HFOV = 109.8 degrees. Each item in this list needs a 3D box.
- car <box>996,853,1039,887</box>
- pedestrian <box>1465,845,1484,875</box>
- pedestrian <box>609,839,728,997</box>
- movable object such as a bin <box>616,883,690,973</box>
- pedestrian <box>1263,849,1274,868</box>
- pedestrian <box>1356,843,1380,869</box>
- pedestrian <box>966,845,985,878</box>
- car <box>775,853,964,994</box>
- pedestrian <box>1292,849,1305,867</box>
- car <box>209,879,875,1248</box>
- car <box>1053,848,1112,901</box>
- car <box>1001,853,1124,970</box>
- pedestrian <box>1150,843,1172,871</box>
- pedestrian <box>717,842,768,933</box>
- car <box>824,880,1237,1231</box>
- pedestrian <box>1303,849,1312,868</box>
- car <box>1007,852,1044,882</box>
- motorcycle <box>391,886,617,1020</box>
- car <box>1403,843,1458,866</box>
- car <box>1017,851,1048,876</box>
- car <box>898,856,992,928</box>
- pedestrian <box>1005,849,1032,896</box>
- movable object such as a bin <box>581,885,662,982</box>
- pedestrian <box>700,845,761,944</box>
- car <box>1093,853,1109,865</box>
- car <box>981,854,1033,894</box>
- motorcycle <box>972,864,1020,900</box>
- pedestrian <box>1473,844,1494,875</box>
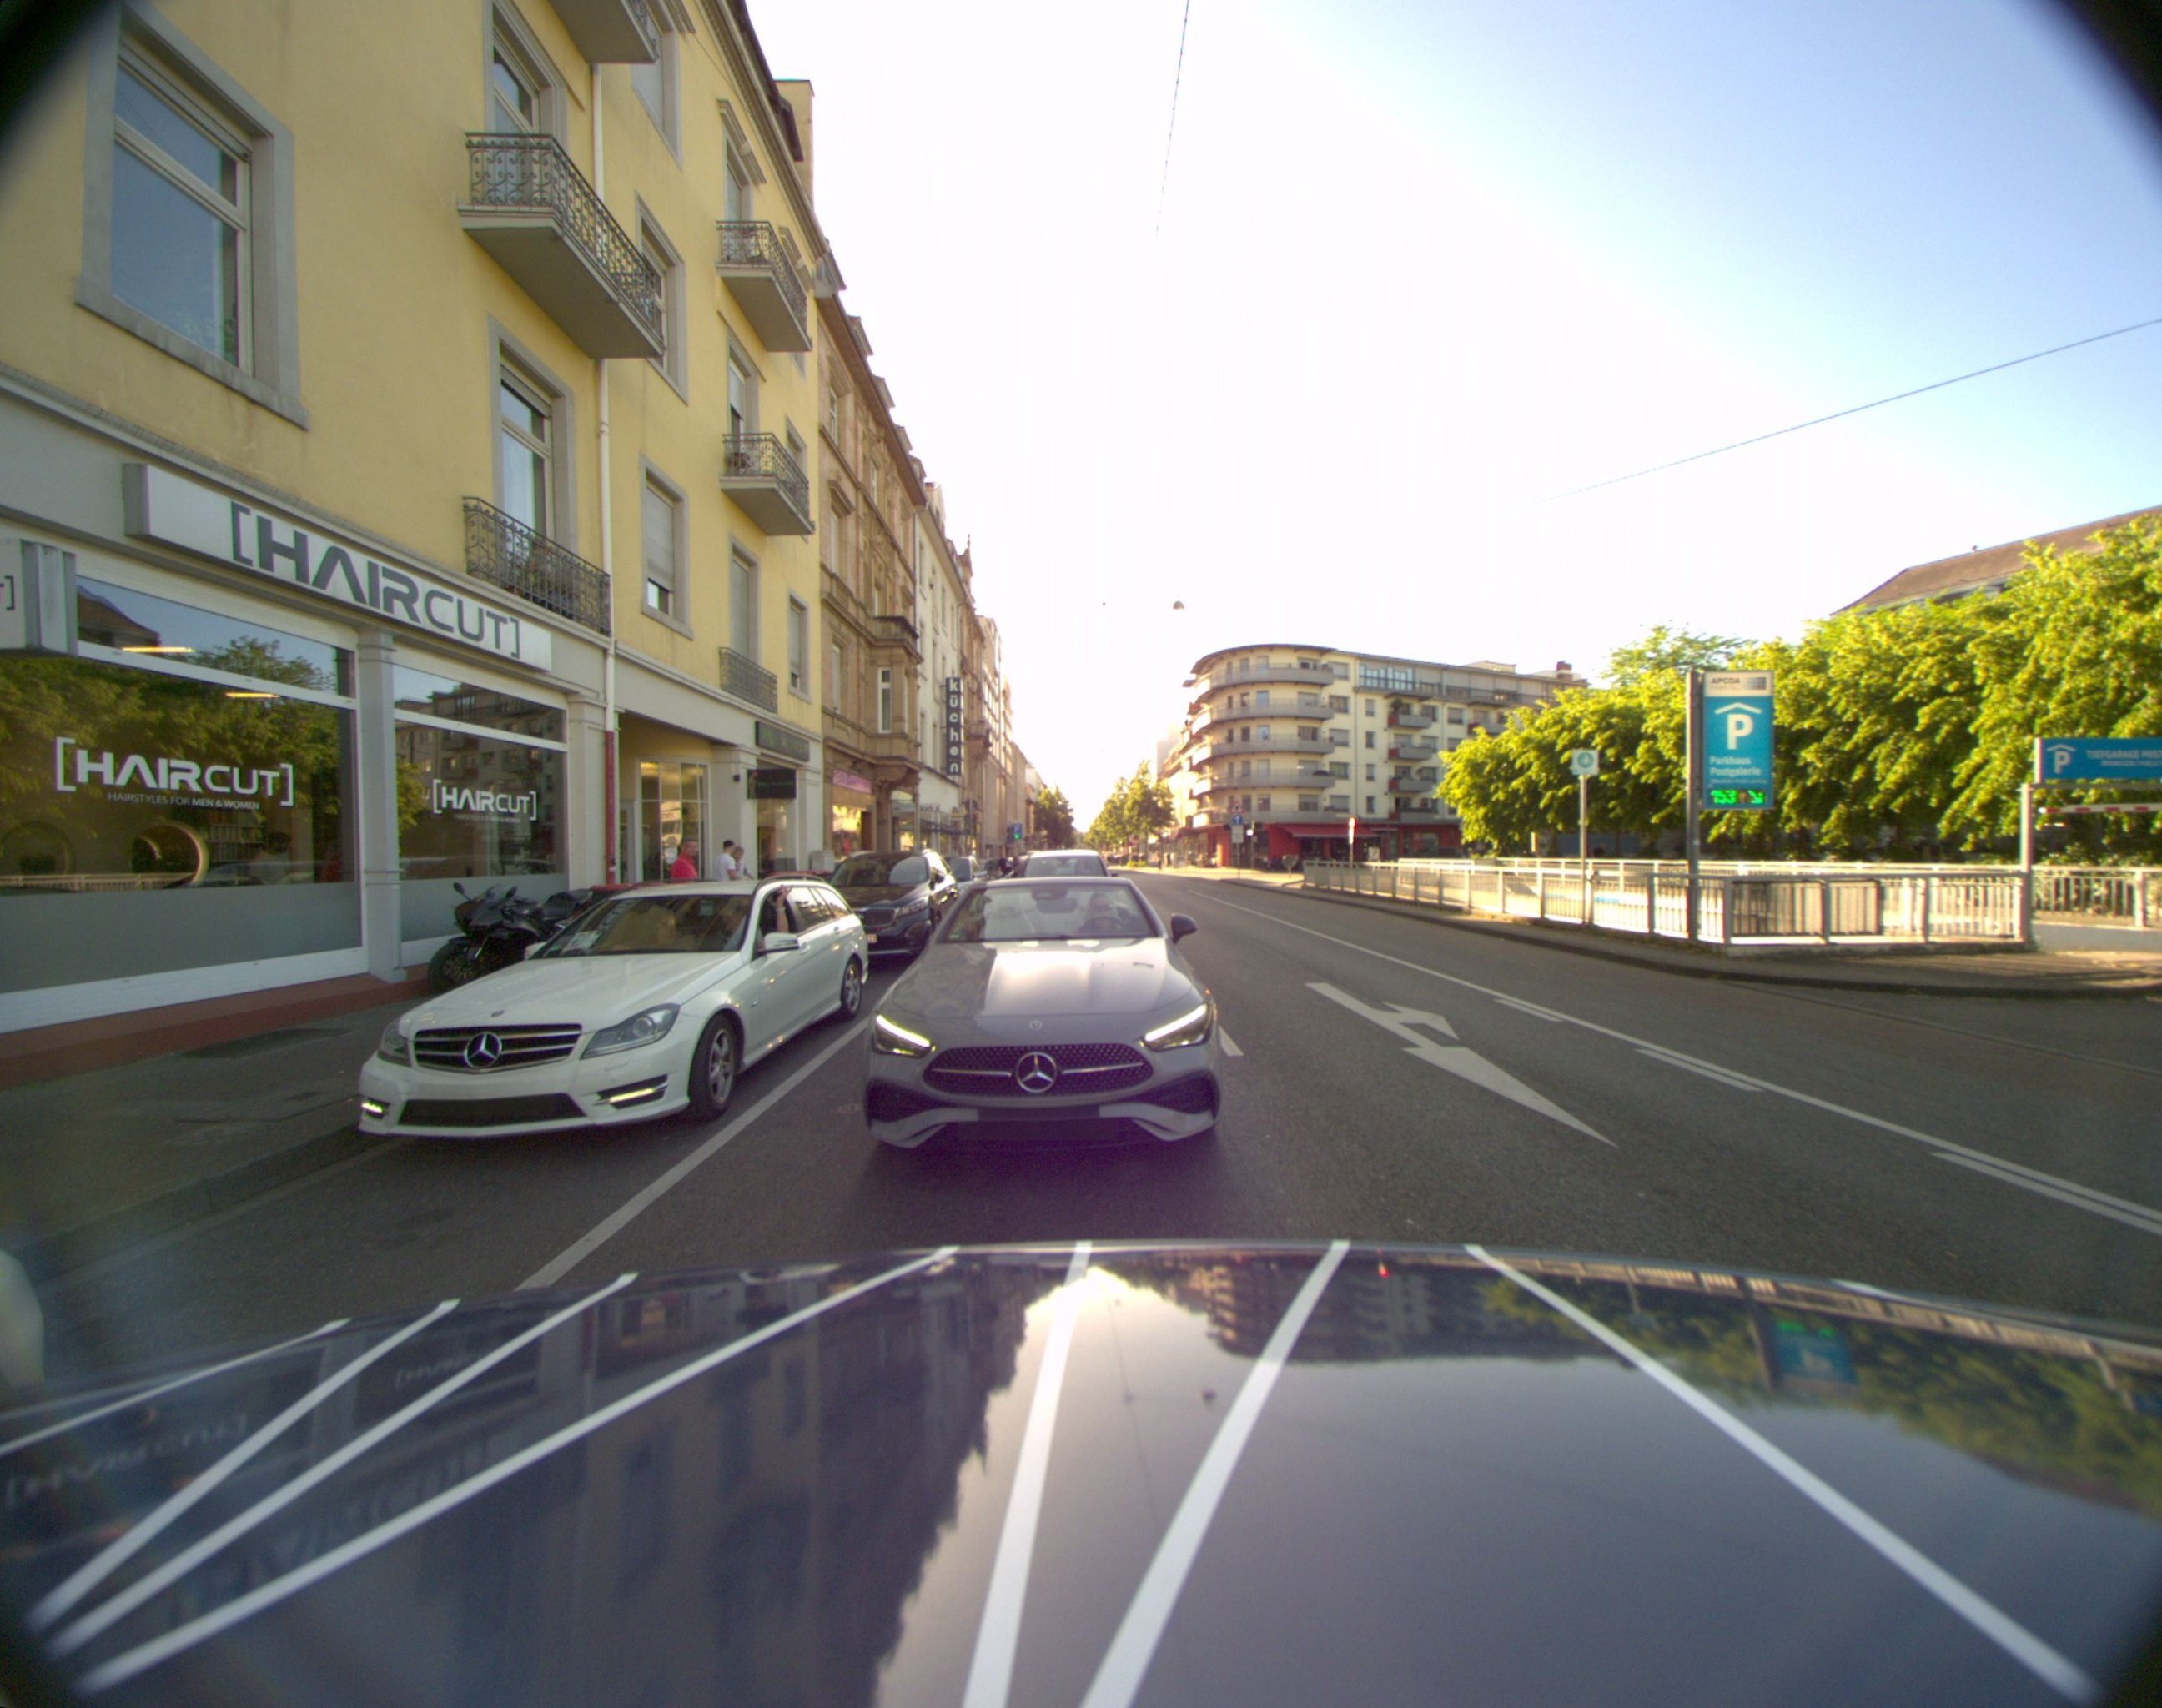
[{"bbox_3d":[-3.048,0.733,37.105,1.715,1.477,3.999,-1,0,0],"label":"car"},{"bbox_3d":[22.998,0.348,44.375,0.674,1.696,0.699,-2,1,-7],"label":"pedestrian"},{"bbox_3d":[-4.916,0.720,9.129,0.866,1.774,1.008,2,1,-3],"label":"pedestrian"},{"bbox_3d":[-6.045,1.027,10.764,0.647,1.200,0.644,-1,1,1],"label":"movable object such as a bin"},{"bbox_3d":[15.045,0.368,60.902,0.791,1.452,0.583,-1,1,10],"label":"pedestrian"},{"bbox_3d":[22.769,0.168,60.274,1.234,2.002,1.259,-2,1,-21],"label":"pedestrian"},{"bbox_3d":[-5.273,0.370,37.923,0.795,1.607,0.763,-1,1,-1],"label":"pedestrian"},{"bbox_3d":[-2.998,0.858,11.853,1.858,1.688,4.696,-1,0,-4],"label":"car"},{"bbox_3d":[17.681,0.304,61.785,0.583,1.453,0.790,-2,1,-37],"label":"pedestrian"},{"bbox_3d":[-3.066,1.030,5.758,1.759,1.453,4.597,-1,0,0],"label":"car"},{"bbox_3d":[0.091,0.670,27.690,1.952,1.742,4.000,-1,1,1],"label":"car"},{"bbox_3d":[-0.239,0.818,12.803,1.716,1.599,4.000,-1,0,1],"label":"car"},{"bbox_3d":[5.876,0.215,55.706,1.202,2.002,1.018,-2,1,-40],"label":"pedestrian"},{"bbox_3d":[-6.127,0.592,13.768,0.572,1.607,0.643,-1,1,2],"label":"pedestrian"},{"bbox_3d":[-0.248,1.000,5.613,1.849,1.371,4.255,-2,0,-1],"label":"car"},{"bbox_3d":[17.942,0.330,60.131,0.581,1.481,0.793,-1,1,13],"label":"pedestrian"},{"bbox_3d":[-2.982,0.674,41.623,1.715,1.477,3.999,-1,0,0],"label":"car"},{"bbox_3d":[-6.247,1.002,8.450,0.773,1.158,2.247,1,1,1],"label":"motorcycle"},{"bbox_3d":[29.025,0.033,63.087,4.004,1.740,1.996,-2,1,-23],"label":"car"},{"bbox_3d":[-3.027,0.589,48.217,1.715,1.477,4.062,-1,0,0],"label":"car"},{"bbox_3d":[-3.255,0.860,18.715,1.696,1.559,3.018,-1,1,1],"label":"car"},{"bbox_3d":[-2.256,0.665,27.579,0.833,1.657,0.694,-1,1,6],"label":"pedestrian"},{"bbox_3d":[-6.095,1.038,10.112,0.647,1.200,0.644,-1,1,1],"label":"movable object such as a bin"},{"bbox_3d":[-5.859,0.659,12.725,0.642,1.607,0.701,-1,1,-1],"label":"pedestrian"},{"bbox_3d":[2.501,0.623,96.511,1.802,1.426,4.250,-1,0,0],"label":"car"},{"bbox_3d":[-2.991,0.790,31.352,1.715,1.477,3.999,-1,0,0],"label":"car"},{"bbox_3d":[-3.051,0.987,27.412,0.769,1.225,1.546,-1,1,42],"label":"motorcycle"},{"bbox_3d":[23.664,0.295,44.626,0.755,1.795,0.756,-2,1,-15],"label":"pedestrian"}]
